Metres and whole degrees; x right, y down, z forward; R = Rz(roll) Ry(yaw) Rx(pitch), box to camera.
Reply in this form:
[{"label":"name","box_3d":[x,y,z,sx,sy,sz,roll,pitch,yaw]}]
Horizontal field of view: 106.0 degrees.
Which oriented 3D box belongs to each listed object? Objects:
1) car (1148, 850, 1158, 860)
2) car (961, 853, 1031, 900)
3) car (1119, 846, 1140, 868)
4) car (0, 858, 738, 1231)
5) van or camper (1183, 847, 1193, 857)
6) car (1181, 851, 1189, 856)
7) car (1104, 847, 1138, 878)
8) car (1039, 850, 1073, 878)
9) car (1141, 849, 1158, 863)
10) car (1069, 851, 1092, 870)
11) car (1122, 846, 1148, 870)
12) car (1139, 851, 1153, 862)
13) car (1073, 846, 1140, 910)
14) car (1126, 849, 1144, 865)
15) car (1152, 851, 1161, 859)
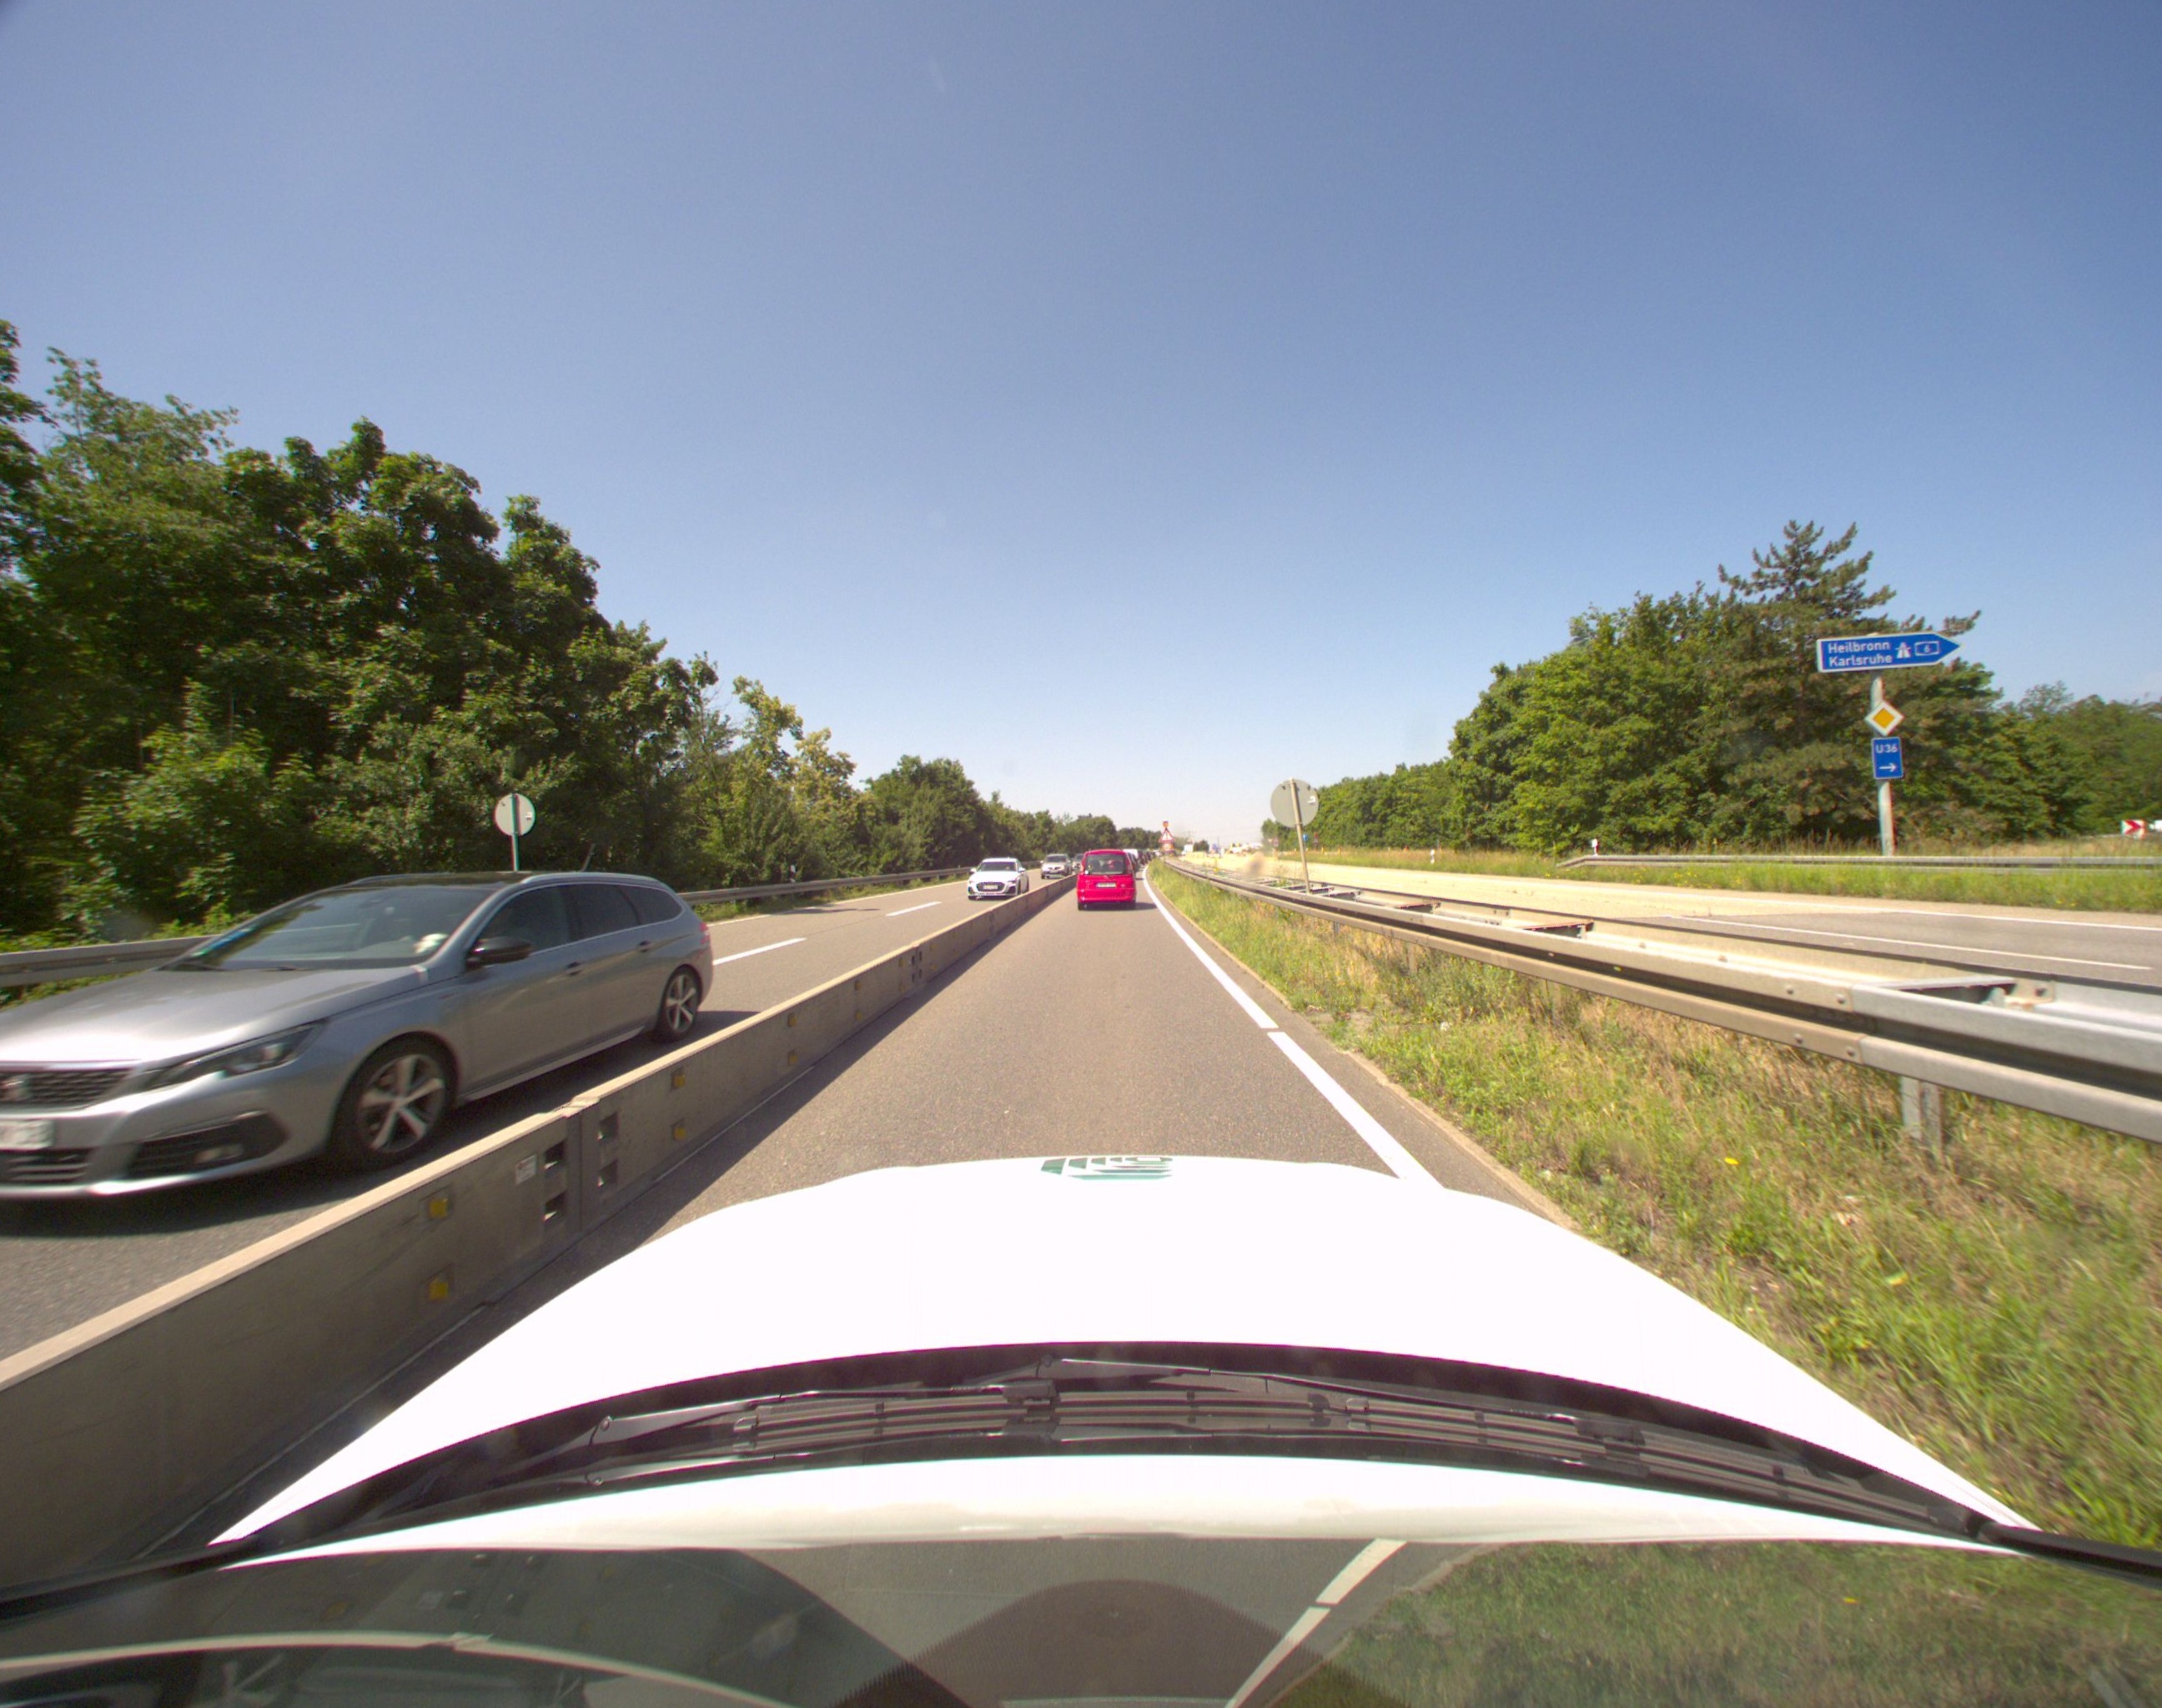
[{"label":"car","box_3d":[12.134,0.139,136.884,1.494,1.736,3.175,-1,0,6]},{"label":"car","box_3d":[-3.008,0.760,29.866,1.941,1.539,4.437,-2,0,1]},{"label":"car","box_3d":[4.794,0.284,80.912,1.985,2.003,4.003,-2,0,3]},{"label":"car","box_3d":[-4.212,0.807,5.564,1.718,1.496,4.391,-1,0,2]},{"label":"van or camper","box_3d":[30.959,-0.616,235.262,2.318,2.707,4.597,-2,0,3]},{"label":"car","box_3d":[28.513,-0.129,223.458,1.984,1.486,4.006,-2,0,5]},{"label":"car","box_3d":[2.279,0.485,47.713,1.824,1.722,4.001,-2,0,1]},{"label":"car","box_3d":[-1.571,0.616,51.840,1.822,1.630,3.786,-2,0,2]},{"label":"car","box_3d":[8.875,0.276,105.393,1.985,1.783,4.003,-2,0,3]},{"label":"car","box_3d":[-0.038,0.578,71.416,1.942,1.579,4.436,-1,0,1]},{"label":"car","box_3d":[4.485,0.326,68.293,1.986,1.838,4.001,-2,0,2]},{"label":"car","box_3d":[9.651,0.327,121.785,1.985,1.585,4.003,-1,0,3]},{"label":"car","box_3d":[0.726,0.649,23.912,1.745,1.673,4.001,-1,0,1]},{"label":"car","box_3d":[6.194,0.287,93.969,1.986,1.750,4.002,-2,0,2]},{"label":"car","box_3d":[13.951,0.178,150.210,1.413,1.298,2.885,-2,0,8]}]
